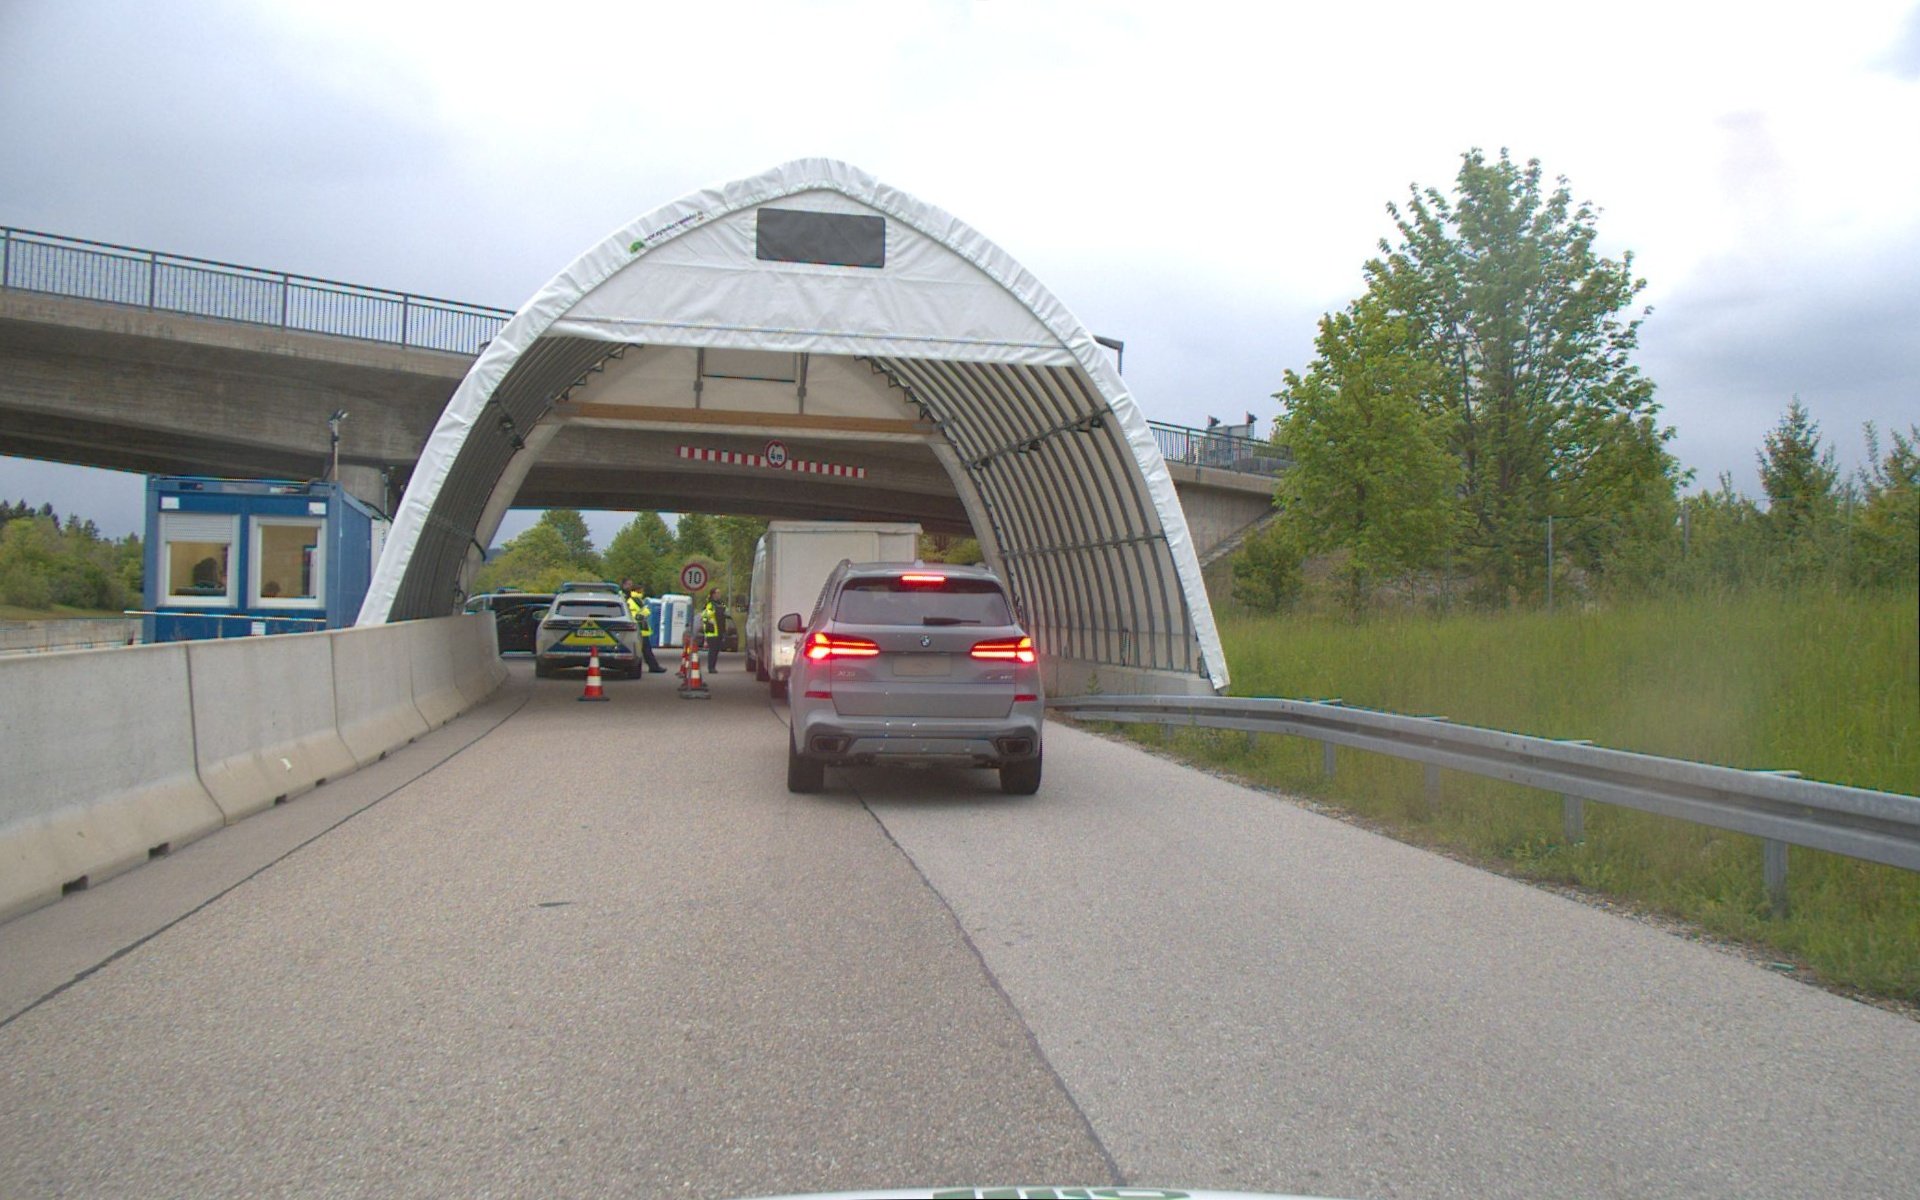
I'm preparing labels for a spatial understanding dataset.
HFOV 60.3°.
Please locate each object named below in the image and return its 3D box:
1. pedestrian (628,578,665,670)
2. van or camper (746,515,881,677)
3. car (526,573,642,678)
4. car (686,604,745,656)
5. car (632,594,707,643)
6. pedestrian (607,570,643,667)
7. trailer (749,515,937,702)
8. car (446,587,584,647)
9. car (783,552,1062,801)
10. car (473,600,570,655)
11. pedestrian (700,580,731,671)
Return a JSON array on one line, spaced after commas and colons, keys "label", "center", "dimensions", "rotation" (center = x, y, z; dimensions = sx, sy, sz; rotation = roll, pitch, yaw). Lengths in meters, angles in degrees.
[{"label": "pedestrian", "center": [-6.259, 0.474, 32.990], "dimensions": [0.707, 1.807, 0.688], "rotation": [0, -1, -11]}, {"label": "van or camper", "center": [-2.926, -0.015, 31.728], "dimensions": [2.117, 2.812, 5.857], "rotation": [1, -1, -10]}, {"label": "car", "center": [-6.882, 0.444, 30.523], "dimensions": [1.958, 1.803, 3.754], "rotation": [0, 0, -12]}, {"label": "car", "center": [-9.221, 1.105, 62.198], "dimensions": [1.676, 1.886, 3.982], "rotation": [0, 0, -16]}, {"label": "car", "center": [-12.621, 0.781, 71.770], "dimensions": [1.973, 2.049, 3.959], "rotation": [0, 0, -30]}, {"label": "pedestrian", "center": [-6.862, 0.376, 33.898], "dimensions": [0.707, 1.979, 0.688], "rotation": [0, -1, -11]}, {"label": "trailer", "center": [-1.976, 0.174, 25.460], "dimensions": [2.237, 2.473, 6.801], "rotation": [1, -1, -10]}, {"label": "car", "center": [-14.199, 0.533, 52.876], "dimensions": [3.903, 1.886, 1.710], "rotation": [0, 0, 4]}, {"label": "car", "center": [-0.390, 0.563, 13.674], "dimensions": [1.954, 1.750, 3.997], "rotation": [1, -1, -4]}, {"label": "car", "center": [-12.205, 0.750, 45.960], "dimensions": [1.503, 1.467, 3.272], "rotation": [0, 0, -37]}, {"label": "pedestrian", "center": [-4.931, 0.507, 33.334], "dimensions": [0.593, 1.807, 0.648], "rotation": [0, -1, -11]}]
